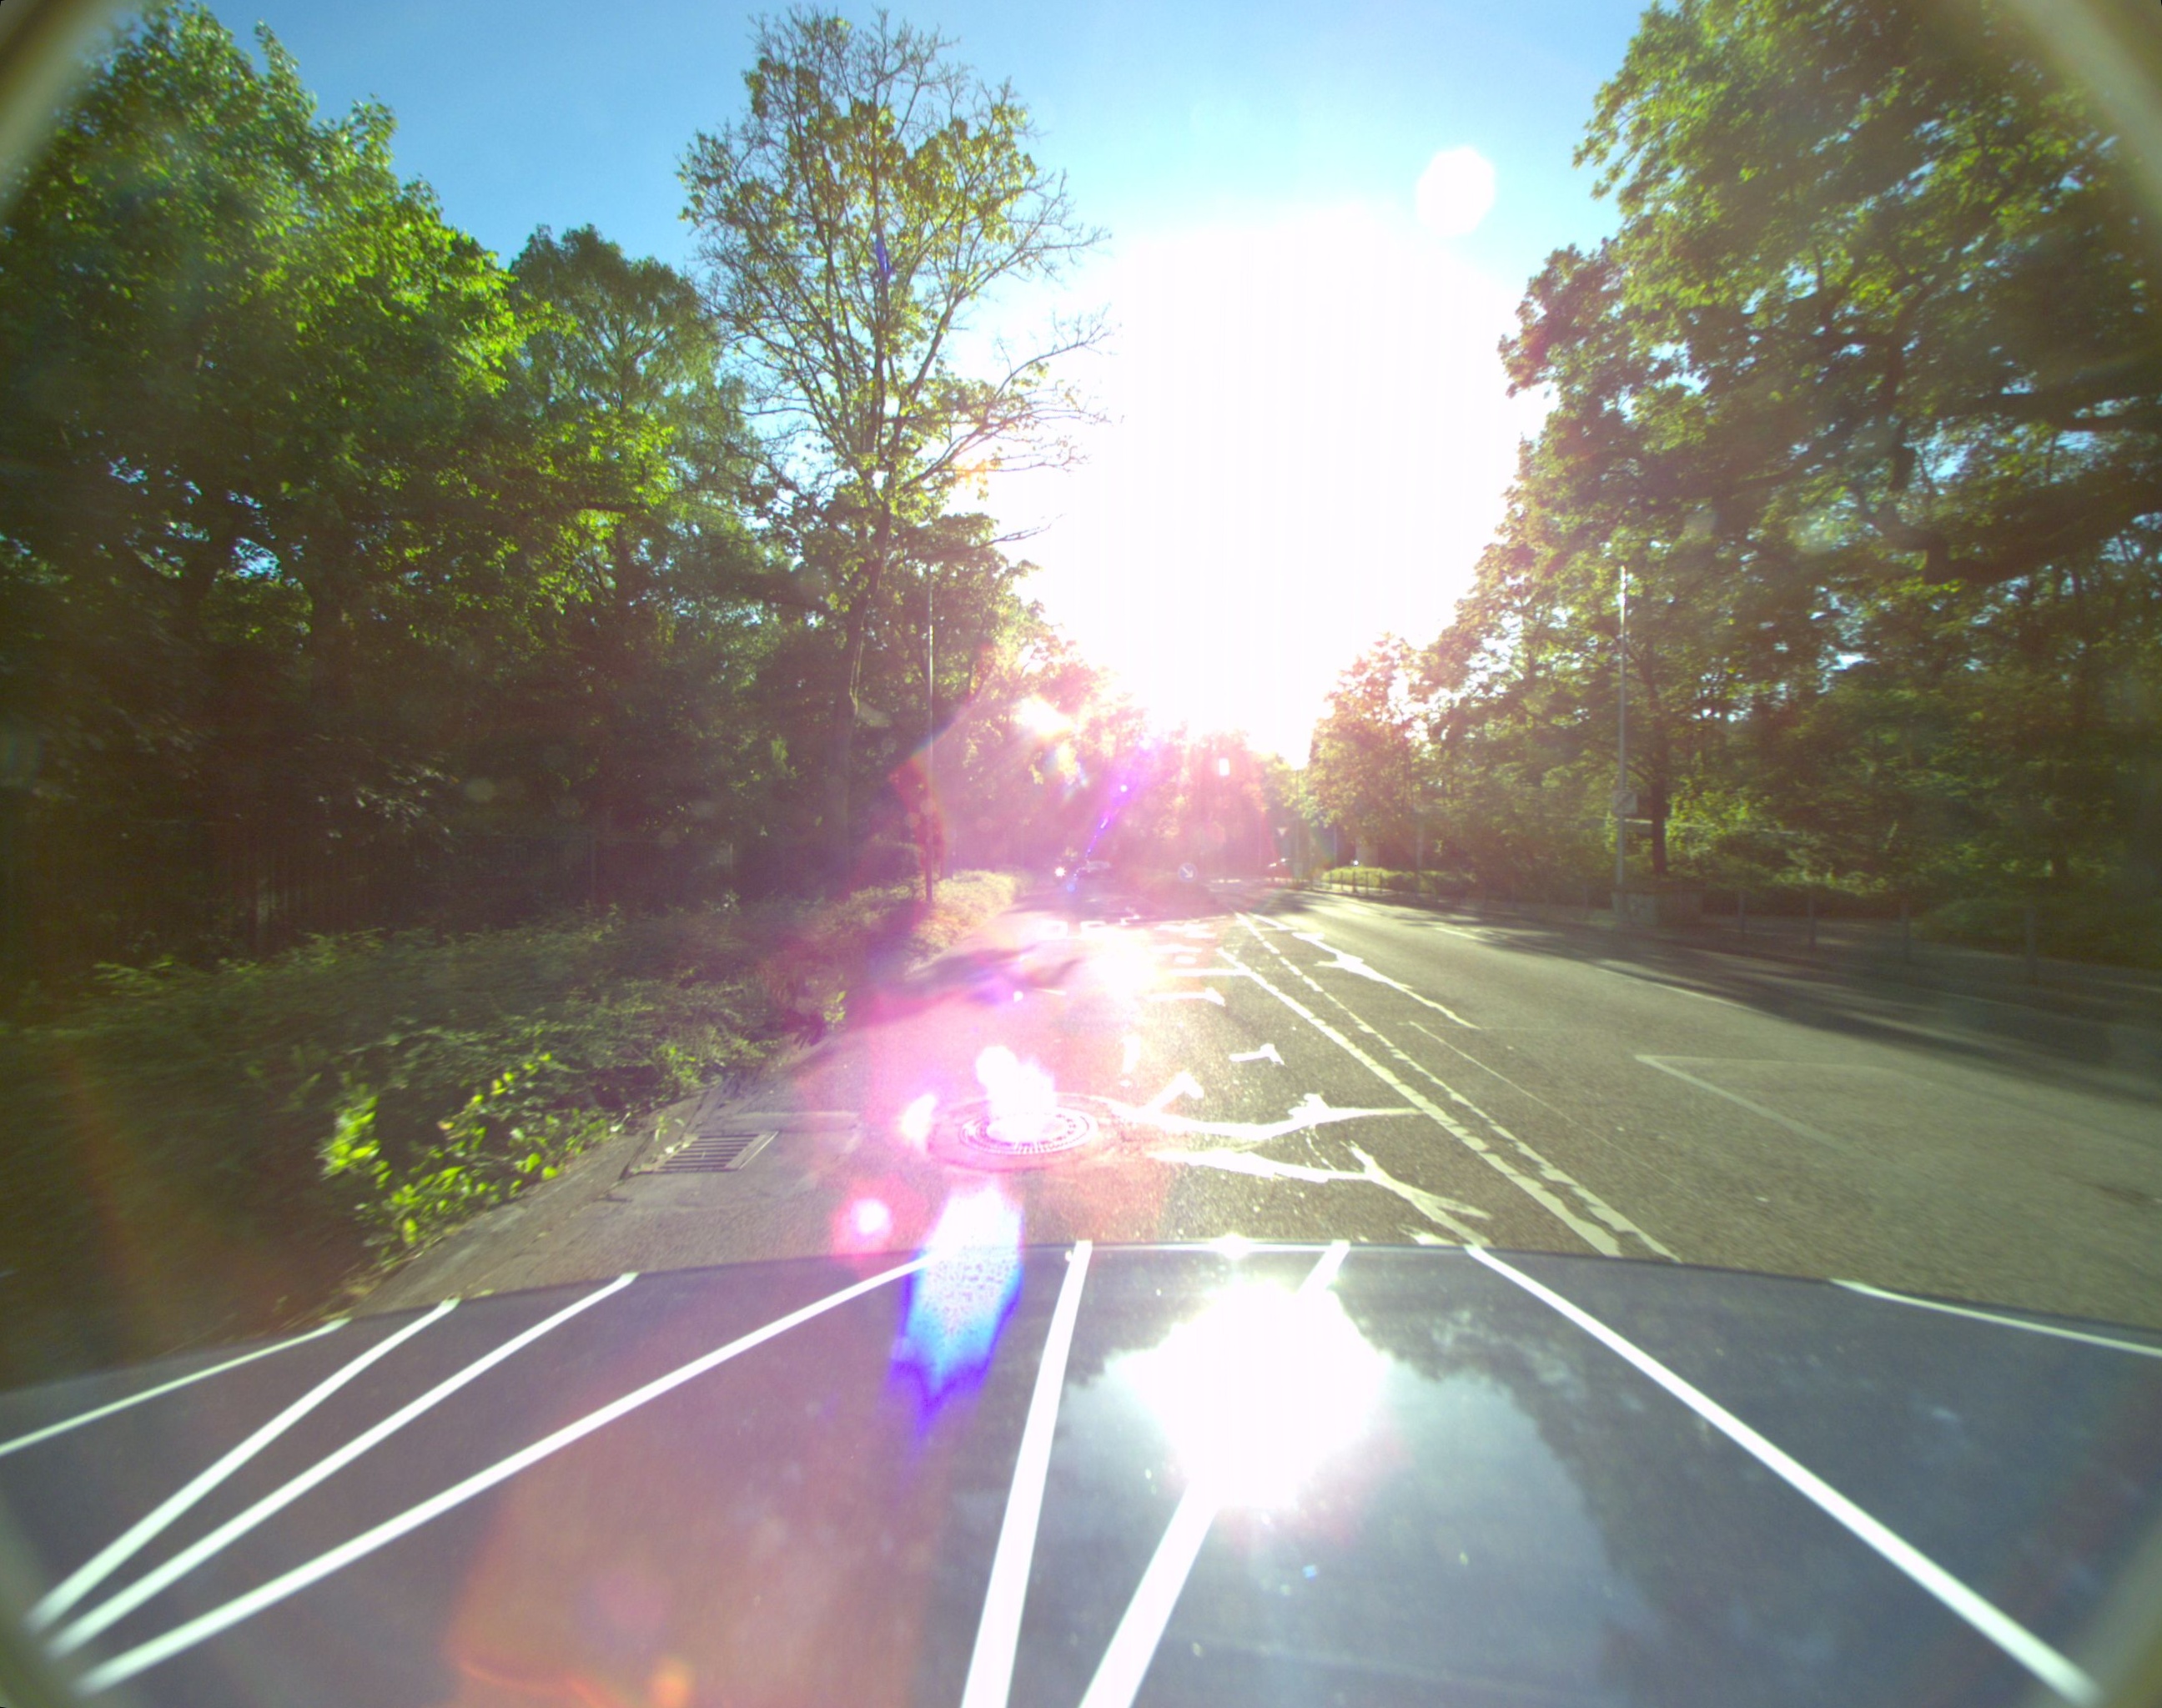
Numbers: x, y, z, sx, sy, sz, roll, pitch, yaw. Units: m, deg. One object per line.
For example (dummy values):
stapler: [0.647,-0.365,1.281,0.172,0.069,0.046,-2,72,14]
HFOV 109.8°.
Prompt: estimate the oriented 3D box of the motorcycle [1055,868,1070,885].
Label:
motorcycle: [-1.104,1.312,45.018,0.807,0.907,2.712,-2,0,0]

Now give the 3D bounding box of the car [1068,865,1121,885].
car: [1.060,1.581,58.299,1.863,1.381,4.009,1,0,44]

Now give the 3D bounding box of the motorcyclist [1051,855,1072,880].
motorcyclist: [-1.157,0.799,45.094,1.138,1.419,1.566,-2,0,0]
